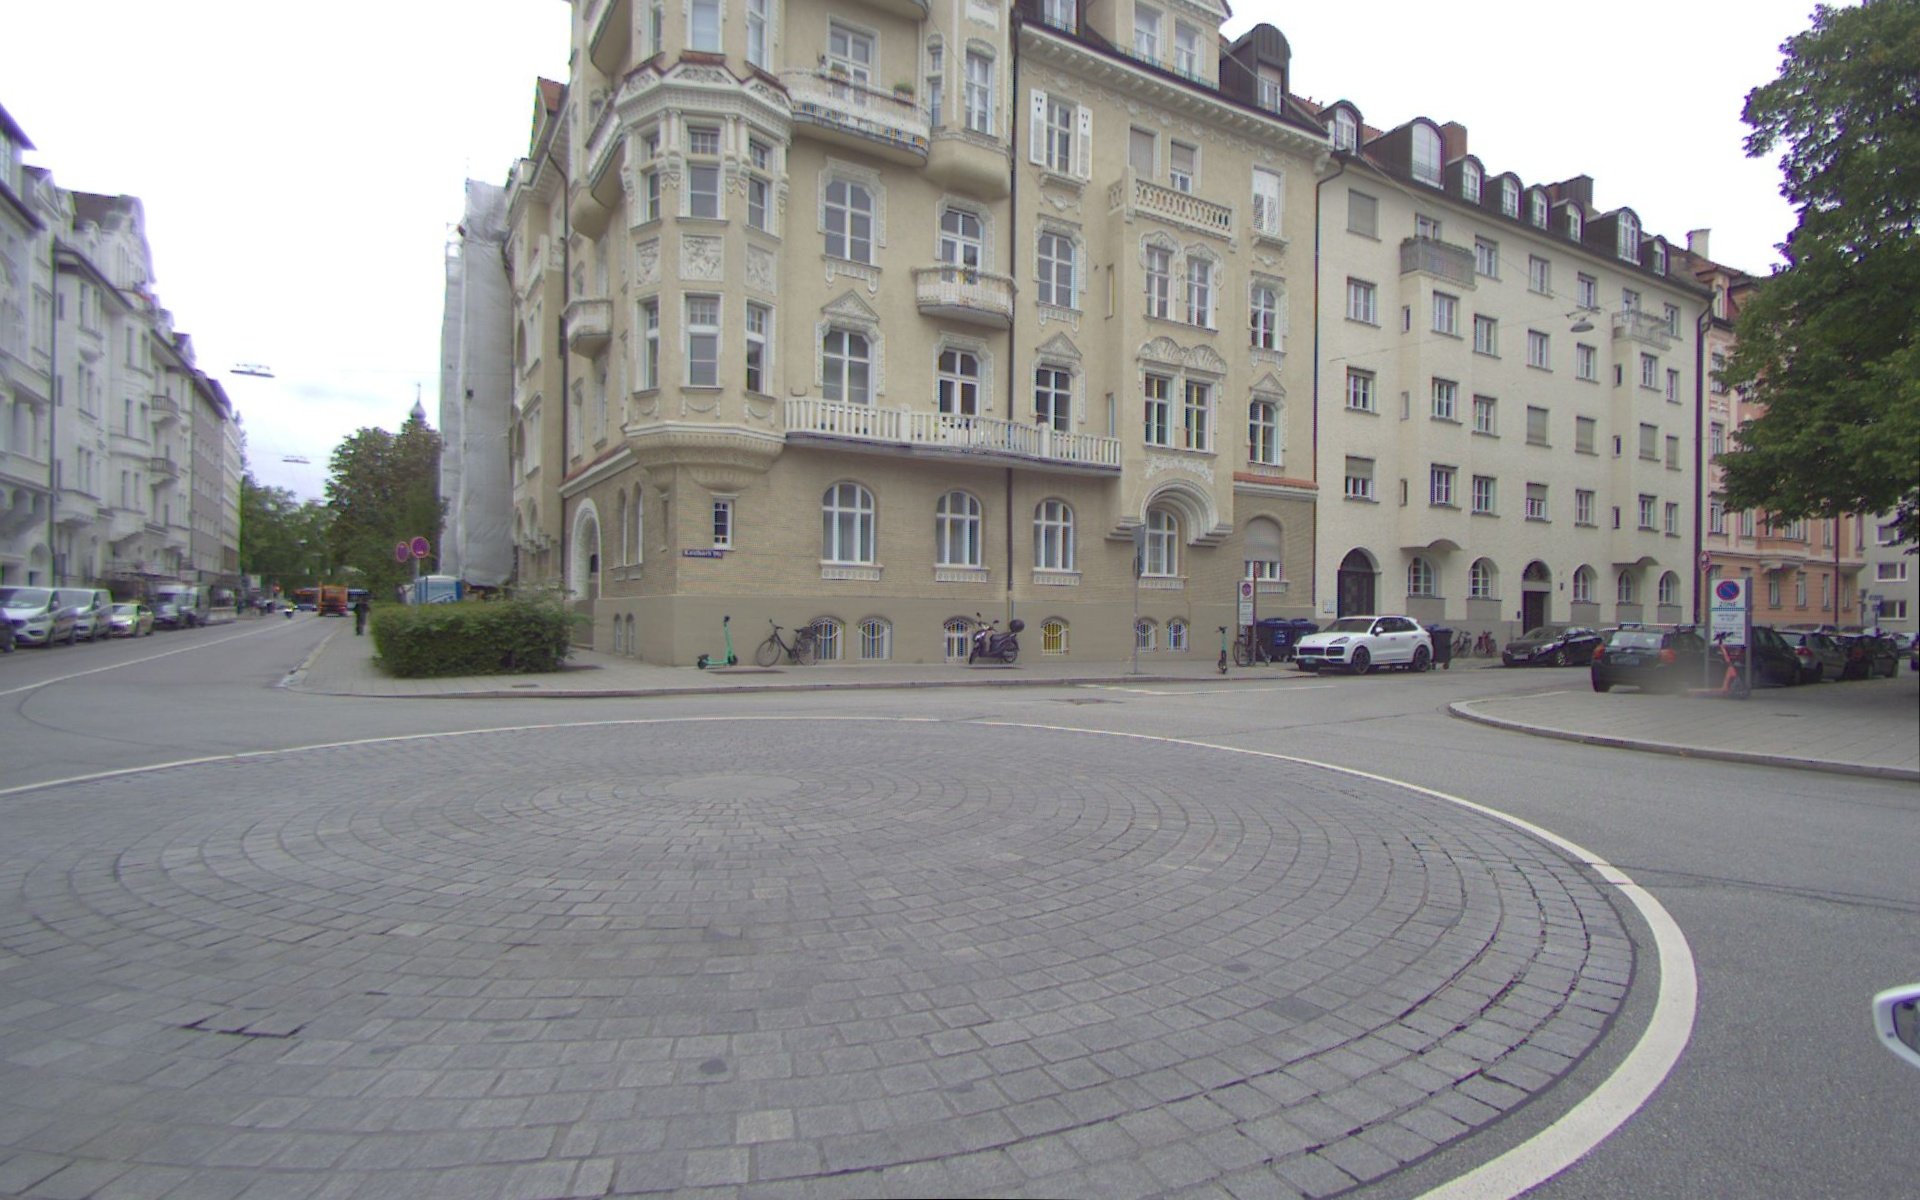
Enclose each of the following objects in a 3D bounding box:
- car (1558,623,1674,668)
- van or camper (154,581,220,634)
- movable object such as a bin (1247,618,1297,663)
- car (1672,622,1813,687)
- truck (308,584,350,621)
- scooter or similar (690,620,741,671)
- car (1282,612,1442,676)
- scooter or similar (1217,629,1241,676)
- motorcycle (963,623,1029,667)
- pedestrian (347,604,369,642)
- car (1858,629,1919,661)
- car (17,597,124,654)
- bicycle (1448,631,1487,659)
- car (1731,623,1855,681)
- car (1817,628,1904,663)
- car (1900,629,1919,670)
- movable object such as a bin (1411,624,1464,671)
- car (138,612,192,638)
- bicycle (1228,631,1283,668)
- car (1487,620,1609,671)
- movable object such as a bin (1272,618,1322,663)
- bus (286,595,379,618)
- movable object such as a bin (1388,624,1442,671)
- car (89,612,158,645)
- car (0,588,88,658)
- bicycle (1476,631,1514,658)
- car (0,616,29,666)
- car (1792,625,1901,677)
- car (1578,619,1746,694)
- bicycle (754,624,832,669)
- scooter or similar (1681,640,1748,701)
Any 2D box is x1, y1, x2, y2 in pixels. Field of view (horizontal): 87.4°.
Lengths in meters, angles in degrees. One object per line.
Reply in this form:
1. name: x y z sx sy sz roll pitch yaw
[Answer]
1. car: 24.705 1.679 37.800 4.356 1.602 1.966 1 0 -30
2. van or camper: -45.747 0.466 59.596 1.975 2.952 6.391 1 -1 -28
3. movable object such as a bin: 10.269 1.325 33.061 1.159 1.444 1.086 1 -1 -30
4. car: 19.974 1.334 25.586 4.195 1.525 1.781 1 -2 -37
5. truck: -66.204 0.299 105.560 3.152 3.671 8.666 1 -1 -29
6. scooter or similar: -5.692 1.044 23.426 0.459 1.130 1.214 1 -1 26
7. car: 11.848 1.242 29.543 4.787 1.723 1.964 1 -1 -33
8. scooter or similar: 7.263 1.396 27.176 0.458 1.209 1.216 1 0 8
9. motorcycle: 0.995 1.226 27.722 1.810 1.192 0.595 1 -1 -33
10. pedestrian: -28.399 1.089 47.374 0.867 1.749 1.043 1 -1 -31
11. car: 50.087 2.389 53.645 4.356 1.602 1.966 1 0 -30
12. car: -33.551 0.957 38.047 2.100 2.020 4.784 1 -1 -30
13. bicycle: 20.138 1.777 39.867 1.810 1.063 0.560 1 -1 -33
14. car: 23.568 1.443 28.382 4.076 1.525 1.781 1 -2 -37
15. car: 44.737 2.235 49.900 4.356 1.602 1.966 1 0 -30
16. car: 37.299 1.847 37.943 4.074 1.525 1.823 1 -2 -35
17. movable object such as a bin: 15.391 1.520 32.359 1.159 1.444 1.086 1 -1 -30
18. car: -42.678 1.340 54.008 1.677 1.364 3.512 1 -1 -29
19. bicycle: 8.844 1.464 30.032 1.810 1.063 0.560 1 -1 -33
20. car: 20.633 1.545 35.201 4.665 1.637 1.962 1 -1 -35
21. movable object such as a bin: 11.291 1.347 33.656 1.159 1.444 1.086 1 -1 -30
22. bus: -85.263 0.978 137.027 2.667 2.937 14.560 1 -1 4
23. movable object such as a bin: 14.380 1.493 31.756 1.159 1.444 1.086 1 -1 -30
24. car: -35.938 1.218 43.231 1.677 1.364 3.511 1 -1 -30
25. car: -30.406 0.745 32.863 2.101 2.119 4.780 1 -1 -32
26. bicycle: 21.818 1.816 40.947 1.810 1.063 0.560 1 -1 -33
27. car: -27.350 1.120 27.675 1.677 1.364 3.511 1 -1 -30
28. car: 28.137 1.582 31.859 4.076 1.525 1.781 1 -2 -37
29. car: 15.772 1.216 22.501 4.381 1.525 1.806 1 -2 -37
30. bicycle: -4.099 1.127 24.709 1.810 1.063 0.560 1 -1 -33
31. scooter or similar: 14.501 1.341 19.320 0.984 1.103 0.390 0 0 32
